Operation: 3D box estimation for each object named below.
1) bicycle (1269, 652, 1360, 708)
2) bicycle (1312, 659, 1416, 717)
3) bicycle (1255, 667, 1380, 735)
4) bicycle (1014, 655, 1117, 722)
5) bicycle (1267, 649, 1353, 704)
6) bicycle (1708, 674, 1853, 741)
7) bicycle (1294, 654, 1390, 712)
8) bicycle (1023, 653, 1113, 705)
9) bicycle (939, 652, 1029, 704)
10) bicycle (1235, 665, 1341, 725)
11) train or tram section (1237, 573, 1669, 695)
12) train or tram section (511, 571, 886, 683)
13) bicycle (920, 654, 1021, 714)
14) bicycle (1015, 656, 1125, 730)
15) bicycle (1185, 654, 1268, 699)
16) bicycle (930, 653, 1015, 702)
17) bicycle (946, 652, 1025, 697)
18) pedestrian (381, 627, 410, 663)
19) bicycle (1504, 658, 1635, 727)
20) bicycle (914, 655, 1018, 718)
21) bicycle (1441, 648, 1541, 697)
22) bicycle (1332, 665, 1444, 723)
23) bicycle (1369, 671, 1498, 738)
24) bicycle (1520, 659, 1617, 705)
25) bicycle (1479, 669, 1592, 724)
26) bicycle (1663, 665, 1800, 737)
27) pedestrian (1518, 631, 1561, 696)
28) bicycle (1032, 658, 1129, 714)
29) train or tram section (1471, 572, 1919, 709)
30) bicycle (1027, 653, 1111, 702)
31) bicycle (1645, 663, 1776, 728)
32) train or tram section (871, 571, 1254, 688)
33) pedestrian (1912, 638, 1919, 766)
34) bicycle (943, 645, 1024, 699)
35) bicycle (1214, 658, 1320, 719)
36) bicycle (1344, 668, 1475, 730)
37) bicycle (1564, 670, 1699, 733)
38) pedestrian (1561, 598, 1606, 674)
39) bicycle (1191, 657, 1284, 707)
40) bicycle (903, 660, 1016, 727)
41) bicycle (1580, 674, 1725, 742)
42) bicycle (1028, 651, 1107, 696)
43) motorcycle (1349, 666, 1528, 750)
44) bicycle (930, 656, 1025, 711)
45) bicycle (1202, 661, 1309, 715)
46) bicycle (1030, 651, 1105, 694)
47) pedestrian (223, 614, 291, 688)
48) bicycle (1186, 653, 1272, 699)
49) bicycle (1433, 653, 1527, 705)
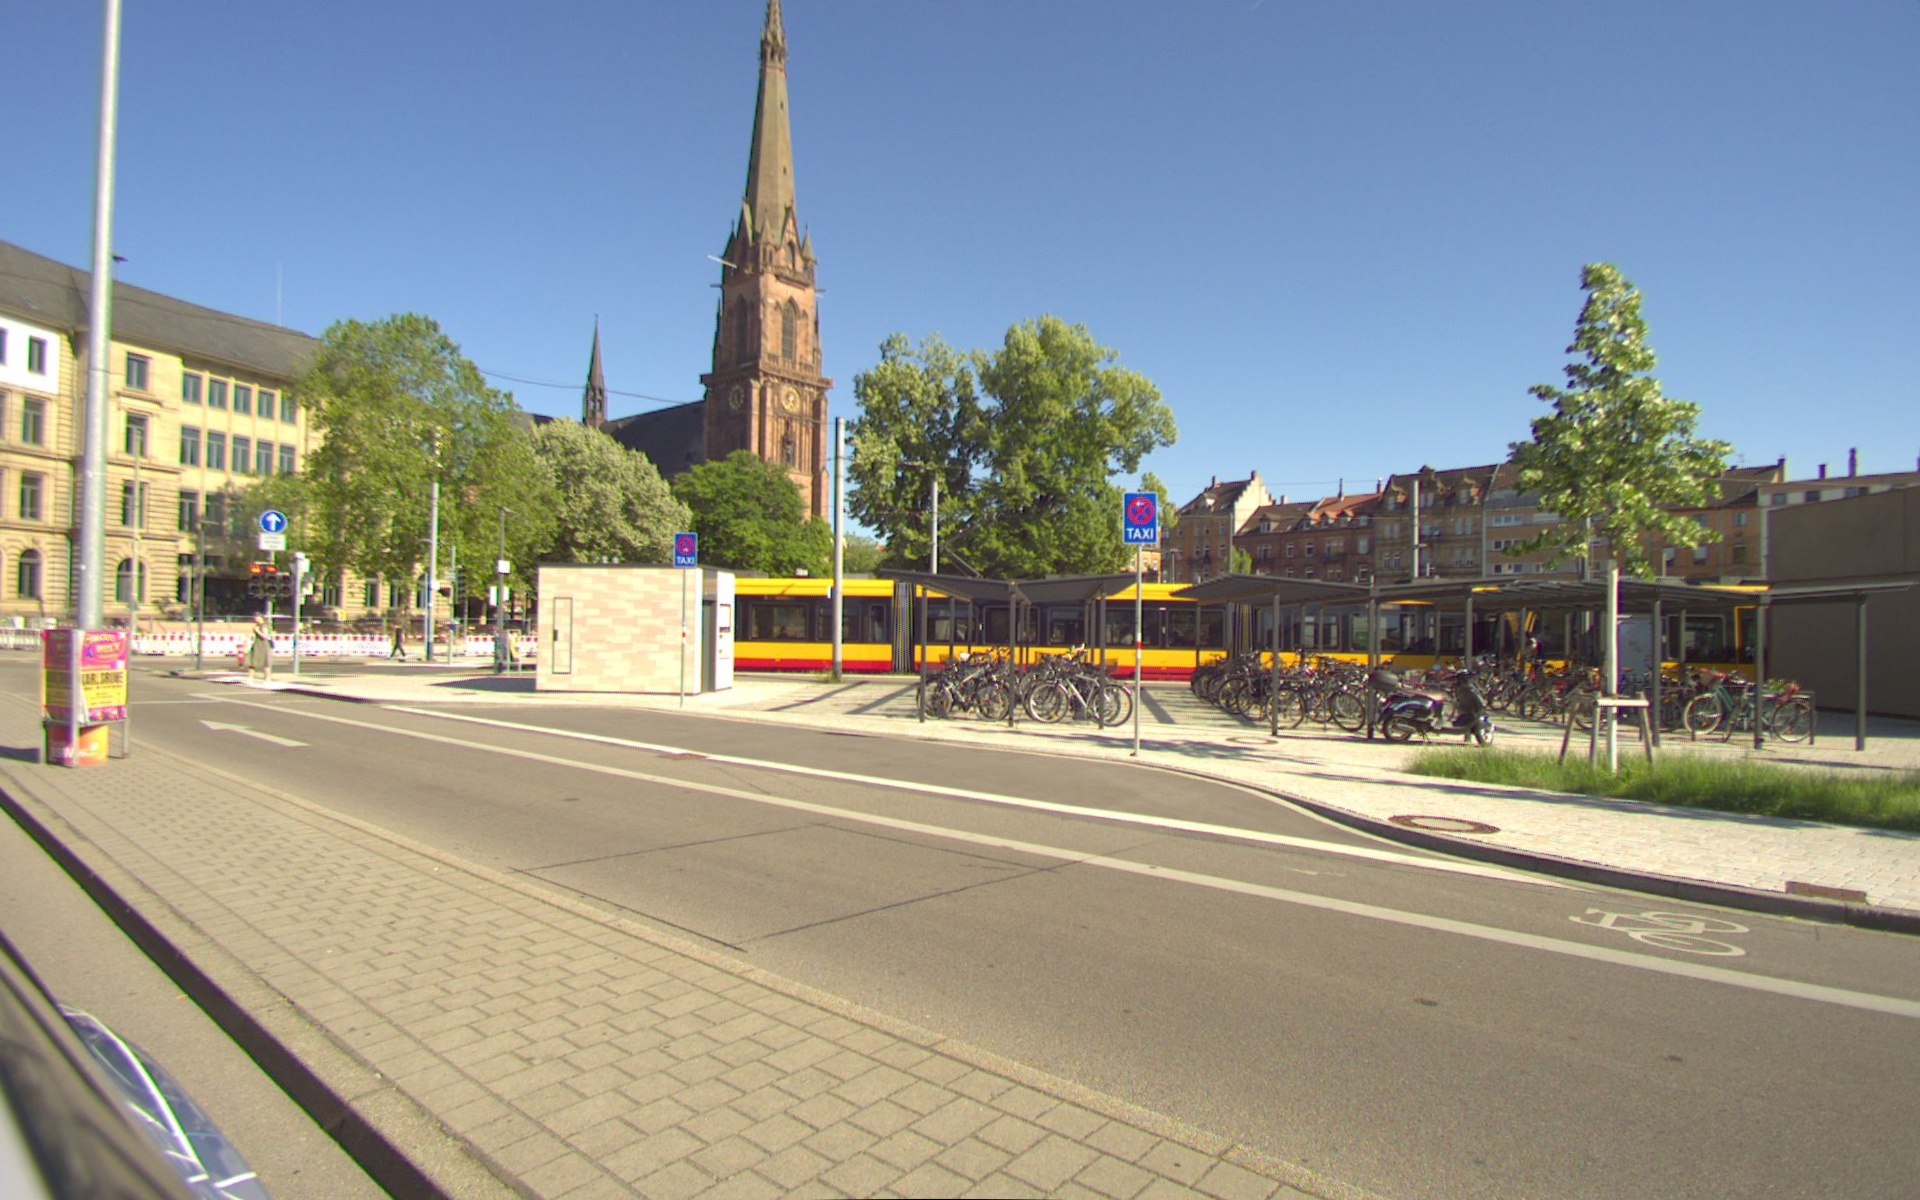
[{"bbox_3d":[7.925,1.772,22.682,1.808,1.198,0.647,0,-2,7],"label":"bicycle"},{"bbox_3d":[8.070,1.752,20.266,1.808,1.088,0.627,0,-2,7],"label":"bicycle"},{"bbox_3d":[5.973,1.681,16.982,1.871,1.050,0.688,0,-2,9],"label":"bicycle"},{"bbox_3d":[1.906,1.582,18.280,1.808,1.157,0.627,0,-2,7],"label":"bicycle"},{"bbox_3d":[8.232,1.790,23.880,1.808,1.242,0.627,0,-2,7],"label":"bicycle"},{"bbox_3d":[13.016,1.700,16.081,1.803,1.015,0.629,1,-2,-3],"label":"bicycle"},{"bbox_3d":[8.107,1.751,21.532,1.808,1.170,0.627,0,-2,7],"label":"bicycle"},{"bbox_3d":[2.225,1.614,20.852,1.808,1.015,0.627,0,-2,7],"label":"bicycle"},{"bbox_3d":[0.509,1.620,21.144,1.809,1.015,0.627,0,-2,9],"label":"bicycle"},{"bbox_3d":[5.849,1.690,18.136,1.731,1.015,0.547,0,-2,10],"label":"bicycle"},{"bbox_3d":[15.395,1.043,32.534,12.174,3.628,2.828,0,-2,6],"label":"train or tram section"},{"bbox_3d":[-8.922,0.891,35.097,12.382,3.628,2.796,0,-2,6],"label":"train or tram section"},{"bbox_3d":[0.209,1.549,18.769,1.809,1.059,0.571,0,-2,9],"label":"bicycle"},{"bbox_3d":[1.861,1.561,17.137,1.808,1.167,0.627,1,-2,7],"label":"bicycle"},{"bbox_3d":[6.247,1.791,23.802,1.808,1.015,0.627,0,-2,6],"label":"bicycle"},{"bbox_3d":[0.285,1.696,22.175,1.809,1.015,0.627,0,-2,9],"label":"bicycle"},{"bbox_3d":[0.616,1.755,24.118,1.809,1.015,0.627,0,-2,9],"label":"bicycle"},{"bbox_3d":[-27.748,2.218,49.771,0.923,1.754,0.805,0,-2,5],"label":"pedestrian"},{"bbox_3d":[11.293,1.708,18.805,2.029,1.218,0.505,0,-2,8],"label":"bicycle"},{"bbox_3d":[0.112,1.543,18.241,1.809,1.074,0.627,0,-2,9],"label":"bicycle"},{"bbox_3d":[11.683,1.582,22.311,1.809,1.015,0.627,0,-2,9],"label":"bicycle"},{"bbox_3d":[7.996,1.754,18.974,1.808,1.015,0.627,0,-2,7],"label":"bicycle"},{"bbox_3d":[7.764,1.709,16.654,1.808,1.015,0.627,0,-2,7],"label":"bicycle"},{"bbox_3d":[14.049,1.886,23.410,1.808,1.015,0.627,0,-2,7],"label":"bicycle"},{"bbox_3d":[11.258,1.878,19.845,1.809,1.015,0.627,0,-2,9],"label":"bicycle"},{"bbox_3d":[12.987,1.693,17.068,1.805,1.155,0.629,0,-2,0],"label":"bicycle"},{"bbox_3d":[15.078,1.649,26.364,0.762,1.672,0.604,0,-2,4],"label":"pedestrian"},{"bbox_3d":[2.317,1.640,19.545,1.808,1.015,0.745,0,-2,7],"label":"bicycle"},{"bbox_3d":[21.461,1.104,28.696,12.179,3.628,2.748,0,-2,7],"label":"train or tram section"},{"bbox_3d":[2.374,1.692,22.127,1.808,1.015,0.627,0,-2,7],"label":"bicycle"},{"bbox_3d":[13.586,1.722,18.364,1.808,1.101,0.627,0,-2,7],"label":"bicycle"},{"bbox_3d":[3.287,0.946,33.819,12.174,3.628,2.796,0,-2,6],"label":"train or tram section"},{"bbox_3d":[13.263,1.356,13.179,1.019,1.718,0.831,0,-2,25],"label":"pedestrian"},{"bbox_3d":[0.558,1.652,23.419,1.809,1.188,0.627,0,-2,9],"label":"bicycle"},{"bbox_3d":[5.872,1.687,19.414,1.859,1.101,0.626,0,-2,8],"label":"bicycle"},{"bbox_3d":[7.915,1.735,17.880,2.003,1.015,0.627,0,-2,7],"label":"bicycle"},{"bbox_3d":[11.599,1.747,17.530,1.872,1.004,0.499,0,-2,13],"label":"bicycle"},{"bbox_3d":[15.662,0.906,25.441,0.700,1.869,0.751,2,-2,-38],"label":"pedestrian"},{"bbox_3d":[5.966,1.762,21.810,1.805,1.015,0.629,0,-2,0],"label":"bicycle"},{"bbox_3d":[0.003,1.588,17.378,1.847,1.015,0.699,2,-2,9],"label":"bicycle"},{"bbox_3d":[11.155,1.728,16.353,1.809,1.015,0.627,0,-2,9],"label":"bicycle"},{"bbox_3d":[2.506,1.708,23.613,1.808,1.015,0.627,0,-2,7],"label":"bicycle"},{"bbox_3d":[7.164,1.609,15.237,2.333,1.167,0.610,0,-2,7],"label":"motorcycle"},{"bbox_3d":[0.357,1.640,19.988,1.809,1.015,0.627,0,-2,9],"label":"bicycle"},{"bbox_3d":[5.945,1.766,20.435,1.978,1.015,0.628,0,-2,4],"label":"bicycle"},{"bbox_3d":[2.628,1.763,24.813,1.808,1.015,0.627,0,-2,7],"label":"bicycle"},{"bbox_3d":[-18.332,1.308,26.401,0.825,1.869,1.215,-1,-2,33],"label":"pedestrian"},{"bbox_3d":[6.117,1.726,23.114,1.807,1.015,0.628,0,-2,5],"label":"bicycle"},{"bbox_3d":[11.997,1.819,23.407,1.809,1.140,0.627,0,-2,9],"label":"bicycle"}]
